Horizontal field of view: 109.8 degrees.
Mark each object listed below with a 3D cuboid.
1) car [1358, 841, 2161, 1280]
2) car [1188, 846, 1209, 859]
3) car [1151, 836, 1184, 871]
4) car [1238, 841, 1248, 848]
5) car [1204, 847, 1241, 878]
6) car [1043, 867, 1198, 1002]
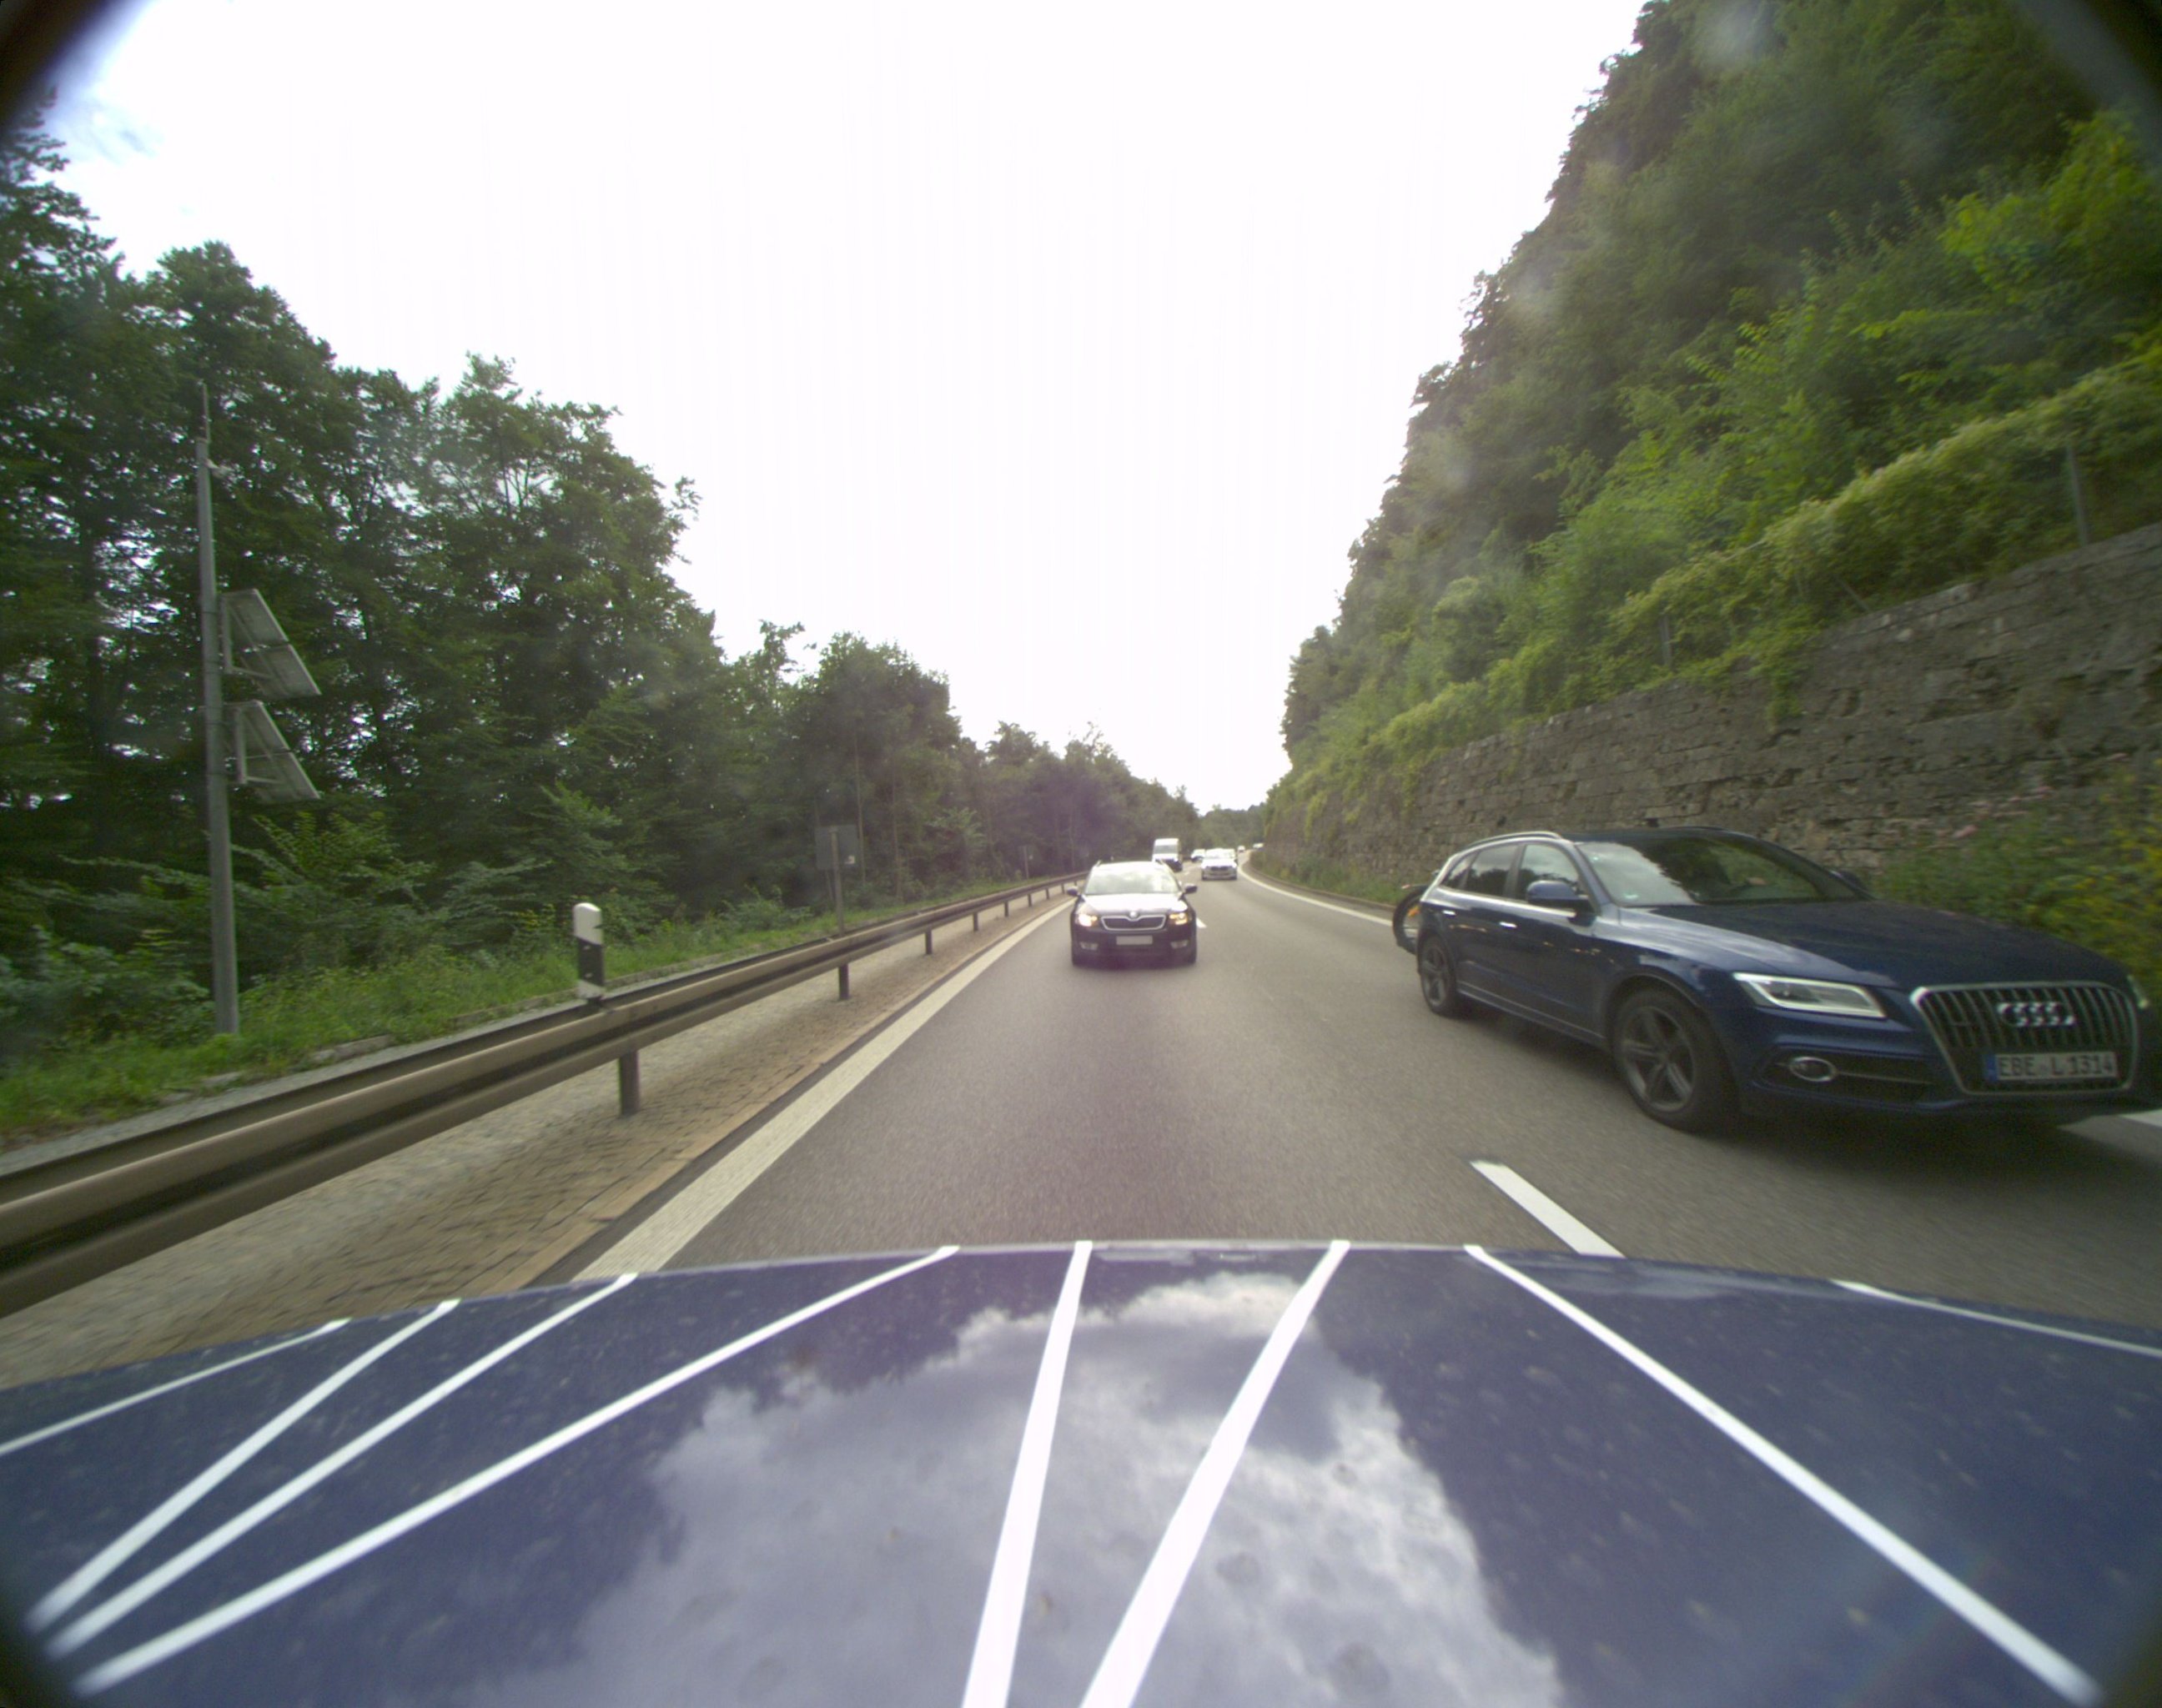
[{"bbox_3d":[4.034,0.774,5.750,1.976,1.584,5.585,-4,1,3],"label":"car"},{"bbox_3d":[14.108,-0.175,91.129,1.821,1.546,4.005,-2,0,17],"label":"car"},{"bbox_3d":[6.807,-0.045,59.297,2.097,2.547,5.924,-2,0,11],"label":"car"},{"bbox_3d":[36.813,-2.214,172.160,1.821,1.546,4.005,-2,0,18],"label":"car"},{"bbox_3d":[7.651,0.472,40.999,1.822,1.546,4.004,-2,0,11],"label":"car"},{"bbox_3d":[0.556,0.911,10.441,1.638,1.384,4.500,-2,-1,3],"label":"car"}]
